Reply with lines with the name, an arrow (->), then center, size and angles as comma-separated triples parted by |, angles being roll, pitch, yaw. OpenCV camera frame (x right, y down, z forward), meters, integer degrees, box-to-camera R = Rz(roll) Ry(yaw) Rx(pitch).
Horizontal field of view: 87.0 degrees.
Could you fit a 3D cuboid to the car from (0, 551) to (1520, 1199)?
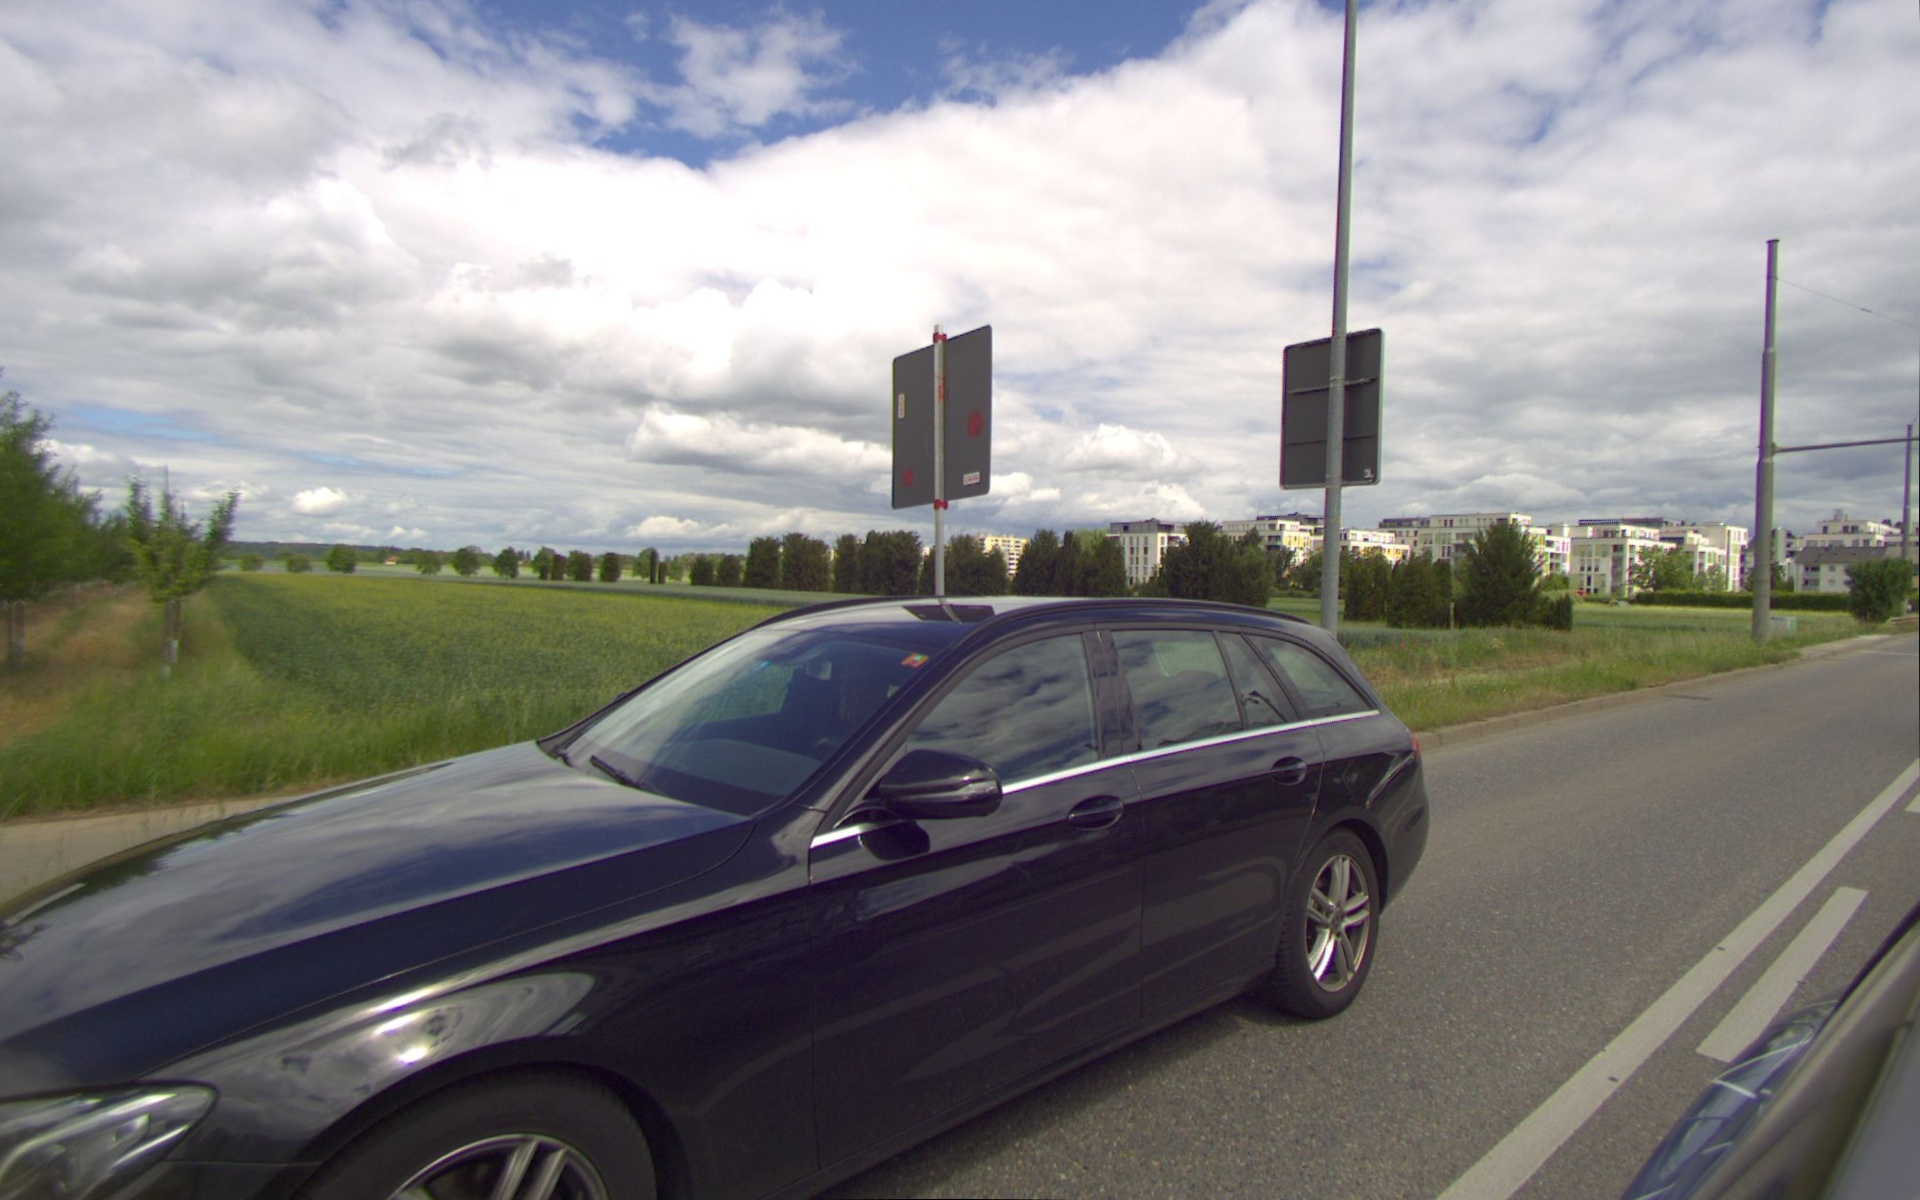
car -> 0.010, 0.640, 3.535 | 5.111, 1.458, 1.875 | 0, 2, -43
